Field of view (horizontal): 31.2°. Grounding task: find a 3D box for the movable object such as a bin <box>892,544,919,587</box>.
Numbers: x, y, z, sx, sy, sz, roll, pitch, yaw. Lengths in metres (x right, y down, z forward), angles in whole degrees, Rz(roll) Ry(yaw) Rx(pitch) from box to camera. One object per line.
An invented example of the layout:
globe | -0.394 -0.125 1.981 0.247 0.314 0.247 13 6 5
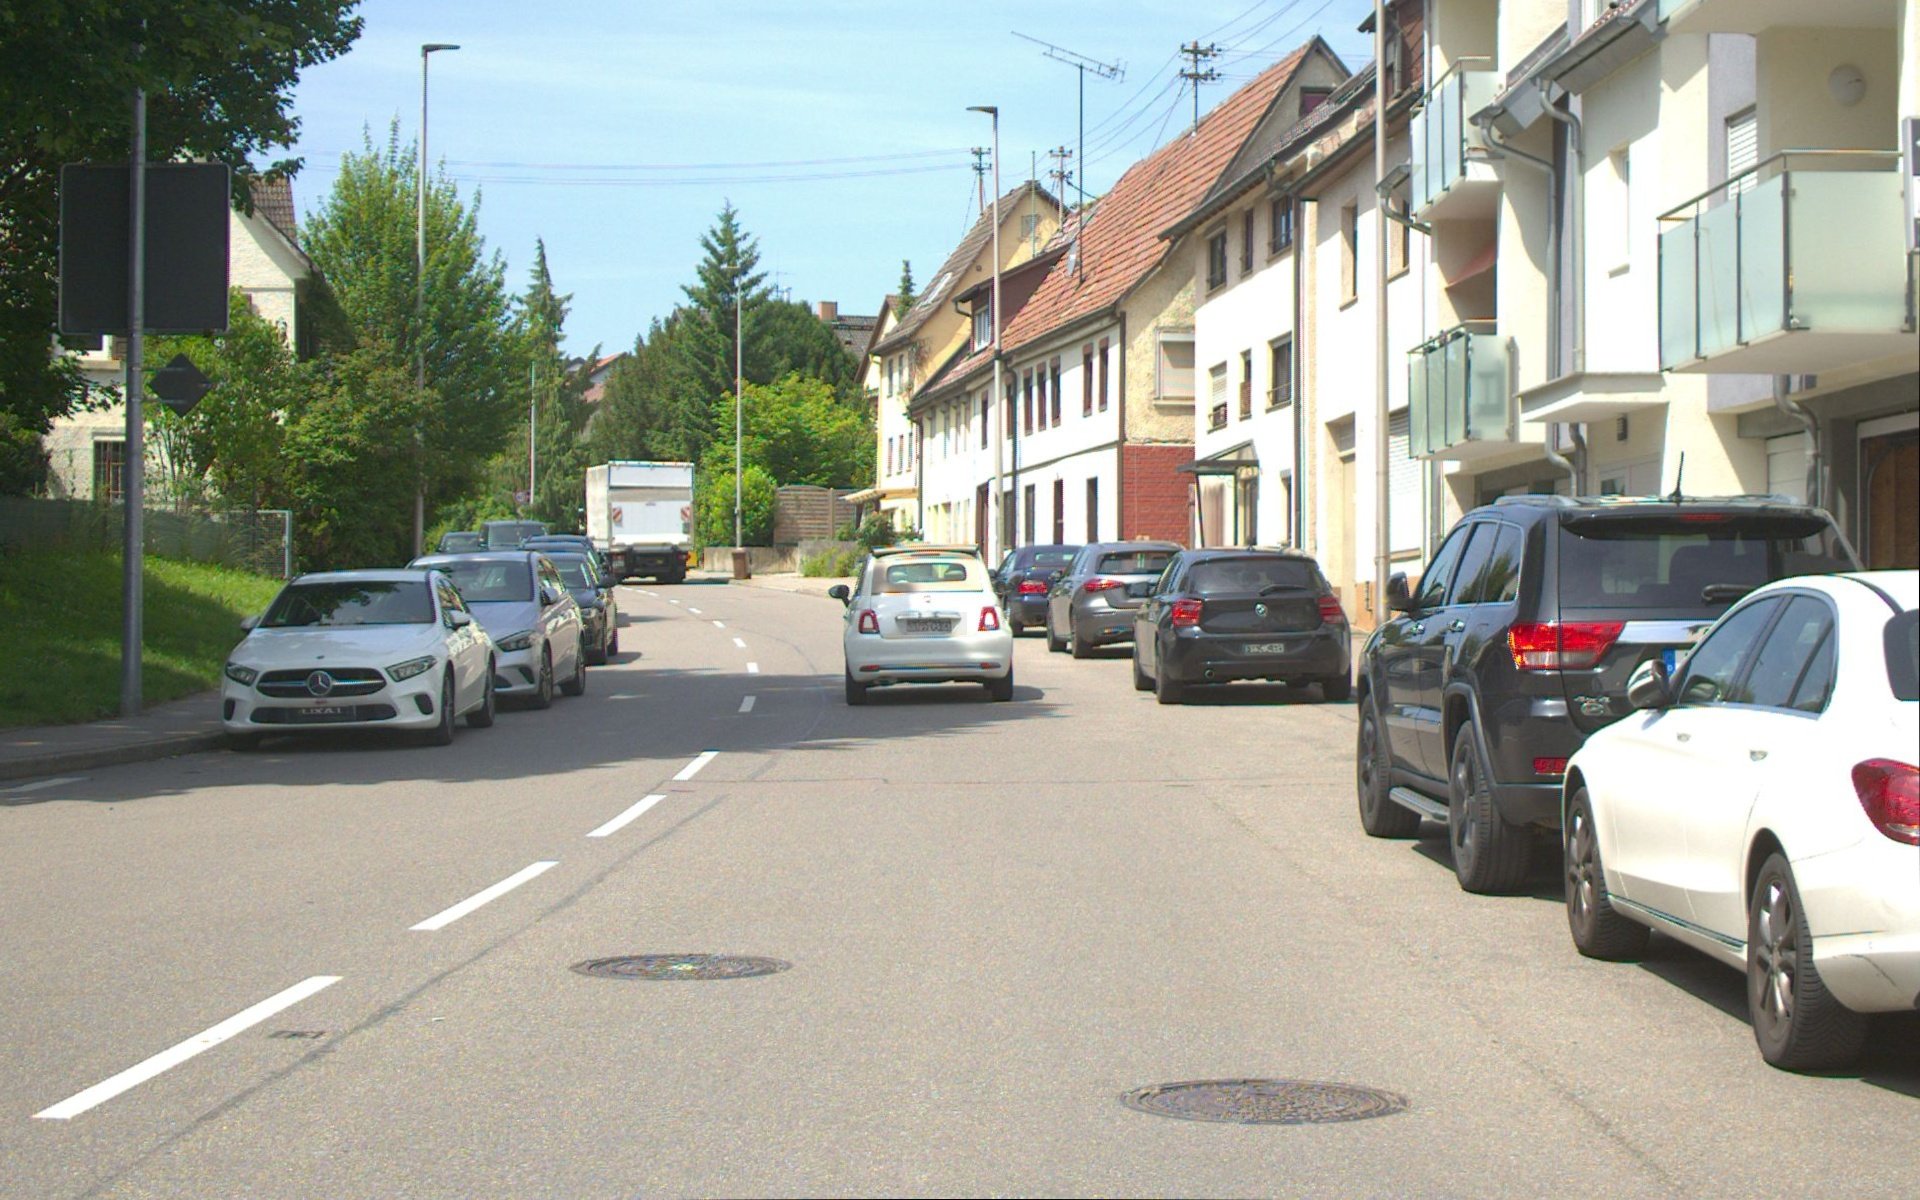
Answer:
movable object such as a bin | -1.367 -0.866 85.958 0.546 1.030 0.552 -3 2 -9

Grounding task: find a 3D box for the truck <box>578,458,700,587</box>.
truck | -9.850 -2.293 104.757 3.067 3.761 7.870 0 0 -10

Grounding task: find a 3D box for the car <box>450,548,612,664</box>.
car | -5.751 0.039 46.581 1.804 1.419 4.928 -1 1 -3

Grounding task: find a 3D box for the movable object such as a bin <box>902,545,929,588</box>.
movable object such as a bin | -1.088 -0.826 84.173 0.546 1.030 0.552 -3 2 -9

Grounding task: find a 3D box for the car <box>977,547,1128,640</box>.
car | 1.368 -0.128 52.344 1.665 1.348 4.188 0 1 -7

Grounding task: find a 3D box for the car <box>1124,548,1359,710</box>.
car | 2.608 0.237 32.769 1.797 1.420 4.290 -1 1 -1

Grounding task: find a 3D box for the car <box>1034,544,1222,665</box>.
car | 2.079 0.020 43.725 1.793 1.398 4.413 -1 1 -5

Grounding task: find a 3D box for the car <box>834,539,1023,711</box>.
car | -0.305 0.199 34.164 1.725 1.555 4.000 -2 1 0

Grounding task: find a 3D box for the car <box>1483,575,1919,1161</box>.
car | 3.033 0.670 11.205 1.788 1.450 4.717 0 1 -2

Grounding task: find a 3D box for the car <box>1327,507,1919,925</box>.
car | 3.079 0.438 16.541 1.953 1.710 4.717 1 1 -2

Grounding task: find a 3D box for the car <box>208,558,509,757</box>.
car | -4.935 0.415 28.768 1.755 1.462 4.363 -2 1 0

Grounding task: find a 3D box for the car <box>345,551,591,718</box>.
car | -4.904 0.299 34.777 1.772 1.522 4.222 -2 1 1
